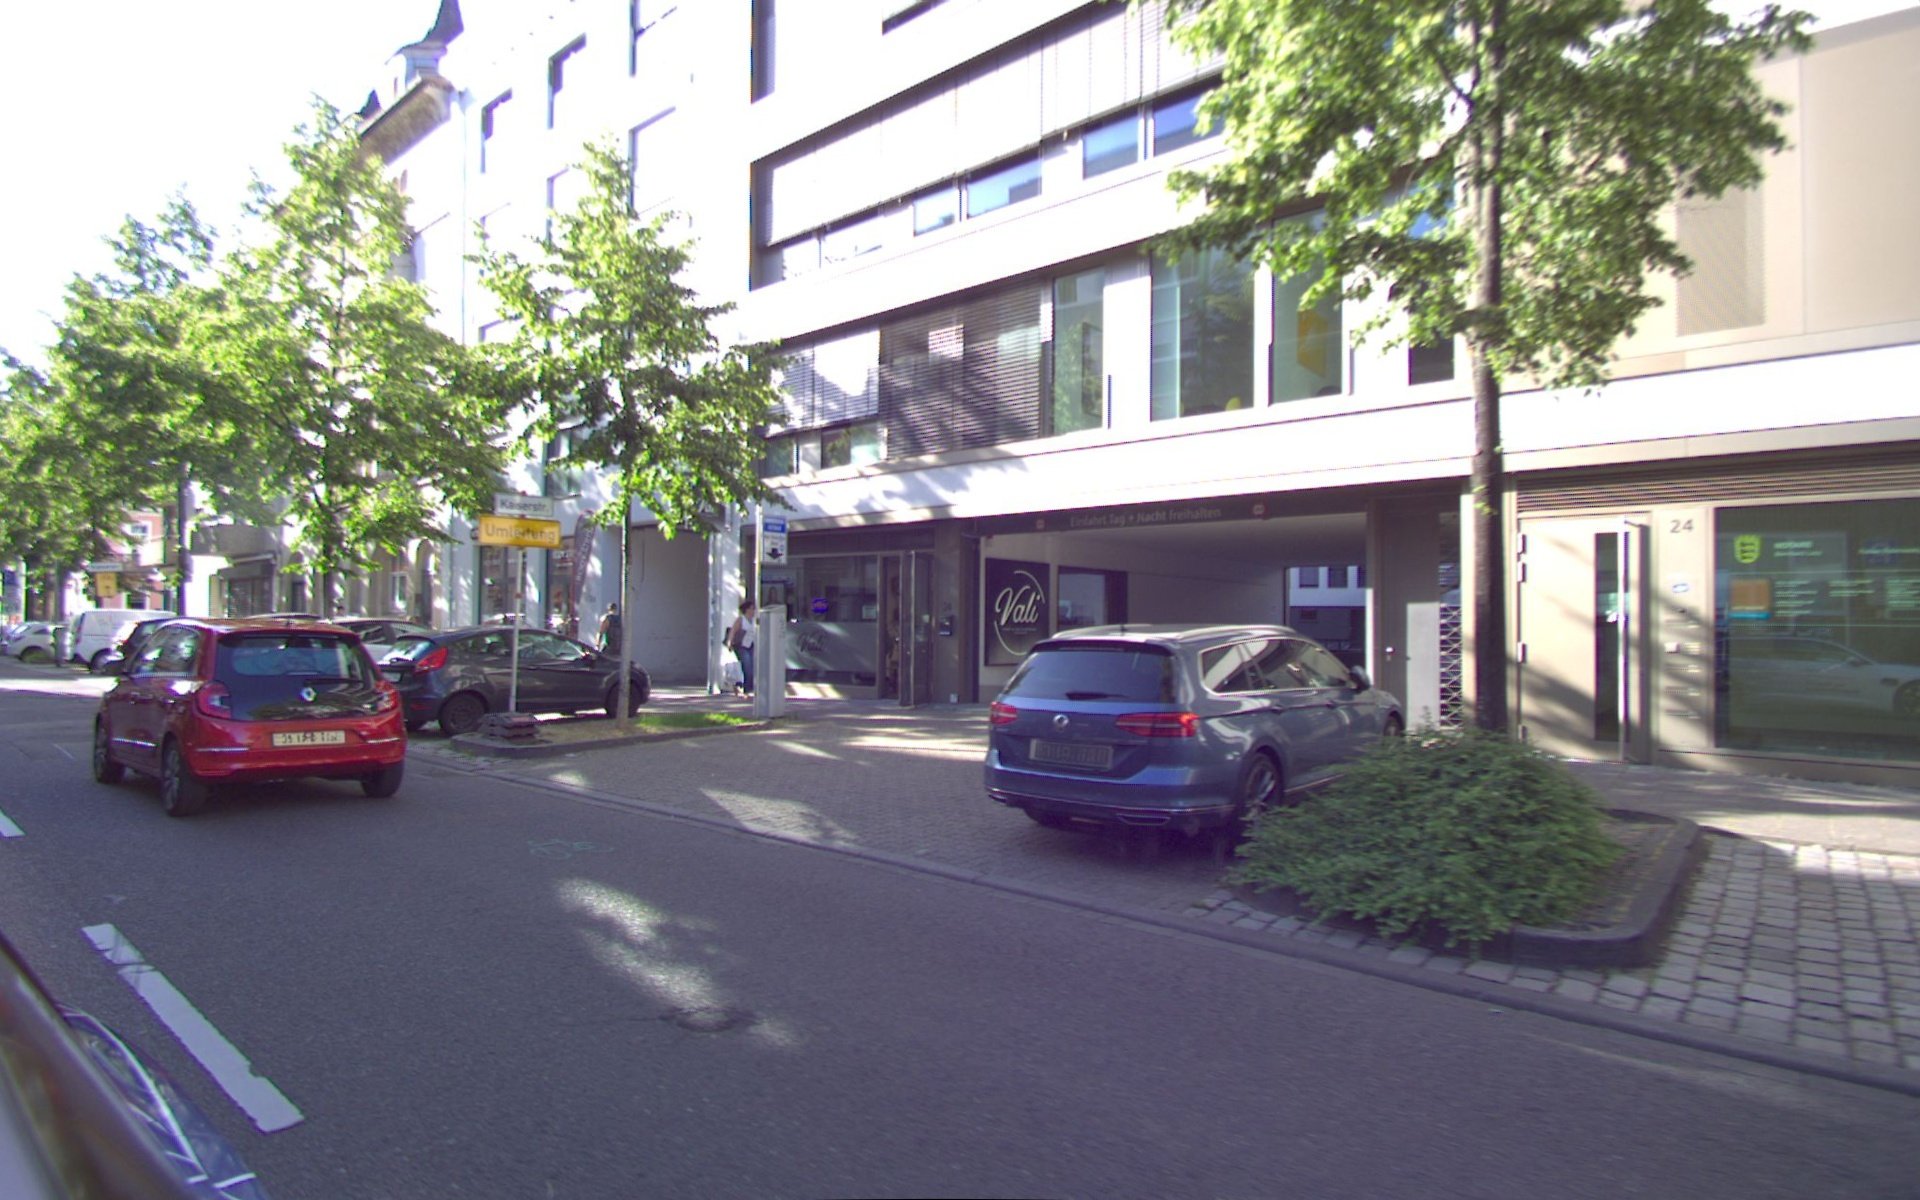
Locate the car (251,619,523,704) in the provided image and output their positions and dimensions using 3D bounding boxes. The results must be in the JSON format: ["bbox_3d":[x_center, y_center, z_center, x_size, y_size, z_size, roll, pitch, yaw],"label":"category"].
[{"bbox_3d":[-11.054,1.115,19.785,1.977,1.470,4.206,-1,-2,37],"label":"car"}]

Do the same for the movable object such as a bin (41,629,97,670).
[{"bbox_3d":[-29.170,1.616,33.133,0.869,1.312,1.225,-1,-2,40],"label":"movable object such as a bin"}]

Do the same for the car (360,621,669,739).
[{"bbox_3d":[-6.330,1.047,14.718,1.778,1.470,3.744,-1,-2,37],"label":"car"}]

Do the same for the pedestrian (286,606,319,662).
[{"bbox_3d":[-19.663,1.007,30.266,0.726,1.638,0.560,-1,2,39],"label":"pedestrian"}]

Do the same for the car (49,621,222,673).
[{"bbox_3d":[-25.696,1.422,31.630,1.886,1.475,3.938,-2,-1,41],"label":"car"}]

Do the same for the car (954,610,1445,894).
[{"bbox_3d":[2.098,0.849,7.751,1.789,1.470,4.446,-1,0,41],"label":"car"}]

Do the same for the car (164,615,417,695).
[{"bbox_3d":[-14.761,1.149,22.497,1.979,1.582,4.321,-1,-2,41],"label":"car"}]

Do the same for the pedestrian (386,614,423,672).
[{"bbox_3d":[-14.966,1.146,27.264,0.842,1.505,0.586,-2,0,42],"label":"pedestrian"}]

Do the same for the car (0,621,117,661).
[{"bbox_3d":[-37.701,1.676,41.970,1.747,1.475,3.957,1,1,40],"label":"car"}]

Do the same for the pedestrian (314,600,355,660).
[{"bbox_3d":[-19.128,0.910,30.952,0.762,1.779,0.767,-1,2,39],"label":"pedestrian"}]

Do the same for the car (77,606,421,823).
[{"bbox_3d":[-6.511,0.891,9.126,3.758,1.547,1.641,-1,-4,41],"label":"car"}]

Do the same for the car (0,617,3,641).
[{"bbox_3d":[-70.102,2.047,71.037,1.998,1.693,4.083,-1,-1,39],"label":"car"}]

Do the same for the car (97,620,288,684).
[{"bbox_3d":[-20.377,1.320,26.972,1.791,1.570,3.760,-1,-2,41],"label":"car"}]

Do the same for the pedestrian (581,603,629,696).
[{"bbox_3d":[-7.058,0.974,20.104,0.690,1.811,0.747,1,-2,-38],"label":"pedestrian"}]

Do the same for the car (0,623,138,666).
[{"bbox_3d":[-33.450,1.625,37.988,1.708,1.475,3.742,-1,-1,38],"label":"car"}]

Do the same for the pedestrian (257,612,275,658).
[{"bbox_3d":[-25.532,1.274,37.242,0.639,1.684,0.429,-1,-1,43],"label":"pedestrian"}]

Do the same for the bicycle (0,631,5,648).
[{"bbox_3d":[-56.342,2.318,58.634,1.493,0.958,0.360,-1,0,-8],"label":"bicycle"}]

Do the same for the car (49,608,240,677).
[{"bbox_3d":[-23.782,1.192,29.608,2.037,1.850,4.063,-2,-1,41],"label":"car"}]

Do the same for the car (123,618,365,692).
[{"bbox_3d":[-16.735,1.213,23.819,1.945,1.582,4.321,-1,-2,41],"label":"car"}]
